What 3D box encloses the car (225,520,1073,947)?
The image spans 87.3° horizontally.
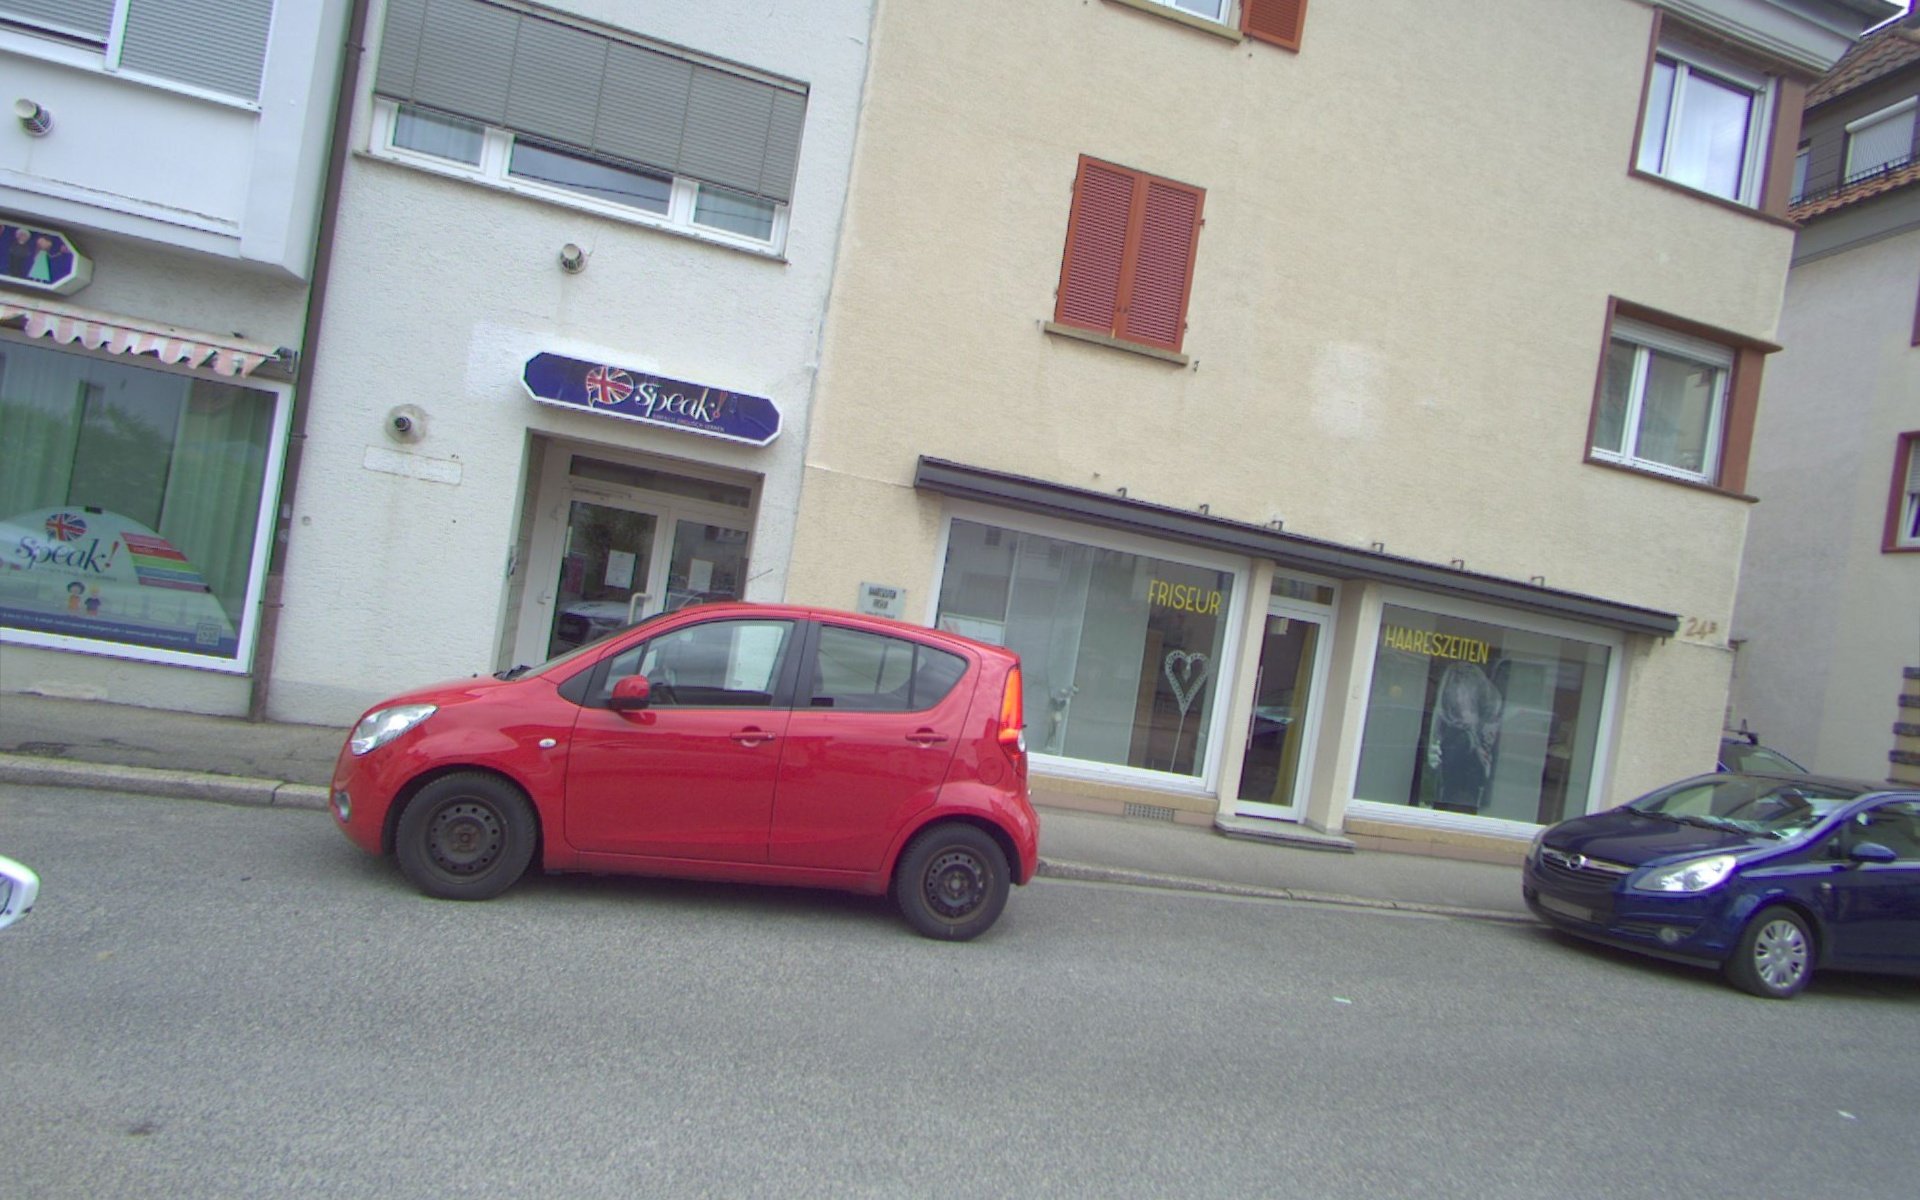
[{"bbox_3d":[-1.456,0.728,5.538,3.636,1.573,1.695,9,-3,-12],"label":"car"}]

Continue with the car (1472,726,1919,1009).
[{"bbox_3d":[6.054,1.947,7.341,3.858,1.465,1.695,9,-4,-13],"label":"car"}]

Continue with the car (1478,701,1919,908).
[{"bbox_3d":[9.592,2.521,13.472,1.922,1.885,4.899,8,-5,-12],"label":"car"}]
